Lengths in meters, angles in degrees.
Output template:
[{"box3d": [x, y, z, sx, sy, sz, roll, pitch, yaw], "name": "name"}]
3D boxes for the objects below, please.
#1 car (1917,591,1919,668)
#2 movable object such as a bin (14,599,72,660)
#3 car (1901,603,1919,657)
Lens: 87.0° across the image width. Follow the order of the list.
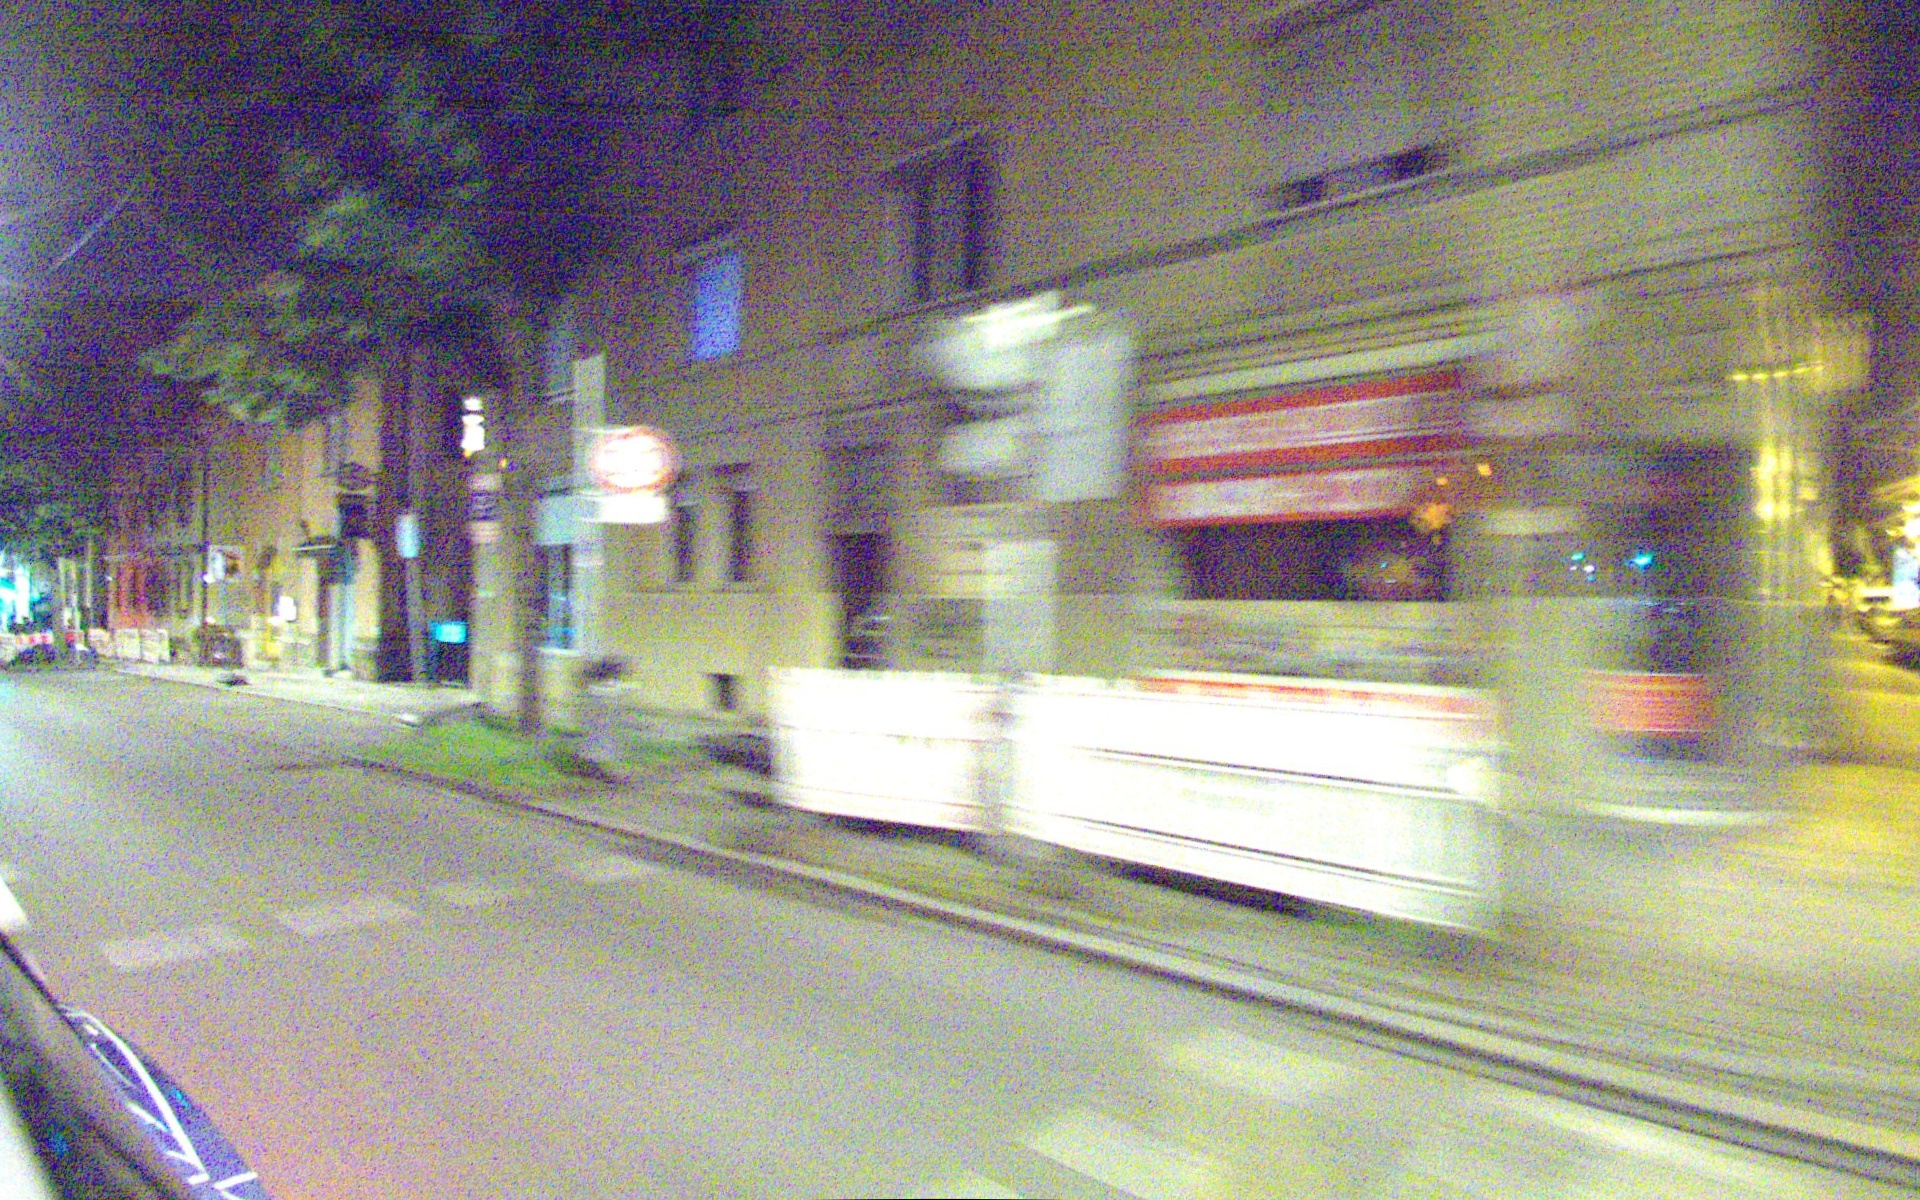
[{"box3d": [22.975, 0.686, 22.816, 1.871, 1.856, 4.184, -2, -2, 42], "name": "car"}, {"box3d": [-42.177, 1.354, 46.513, 3.909, 2.647, 1.554, -1, -3, 42], "name": "movable object such as a bin"}, {"box3d": [29.806, 0.860, 30.570, 1.871, 1.567, 4.184, -4, -3, 42], "name": "car"}]
